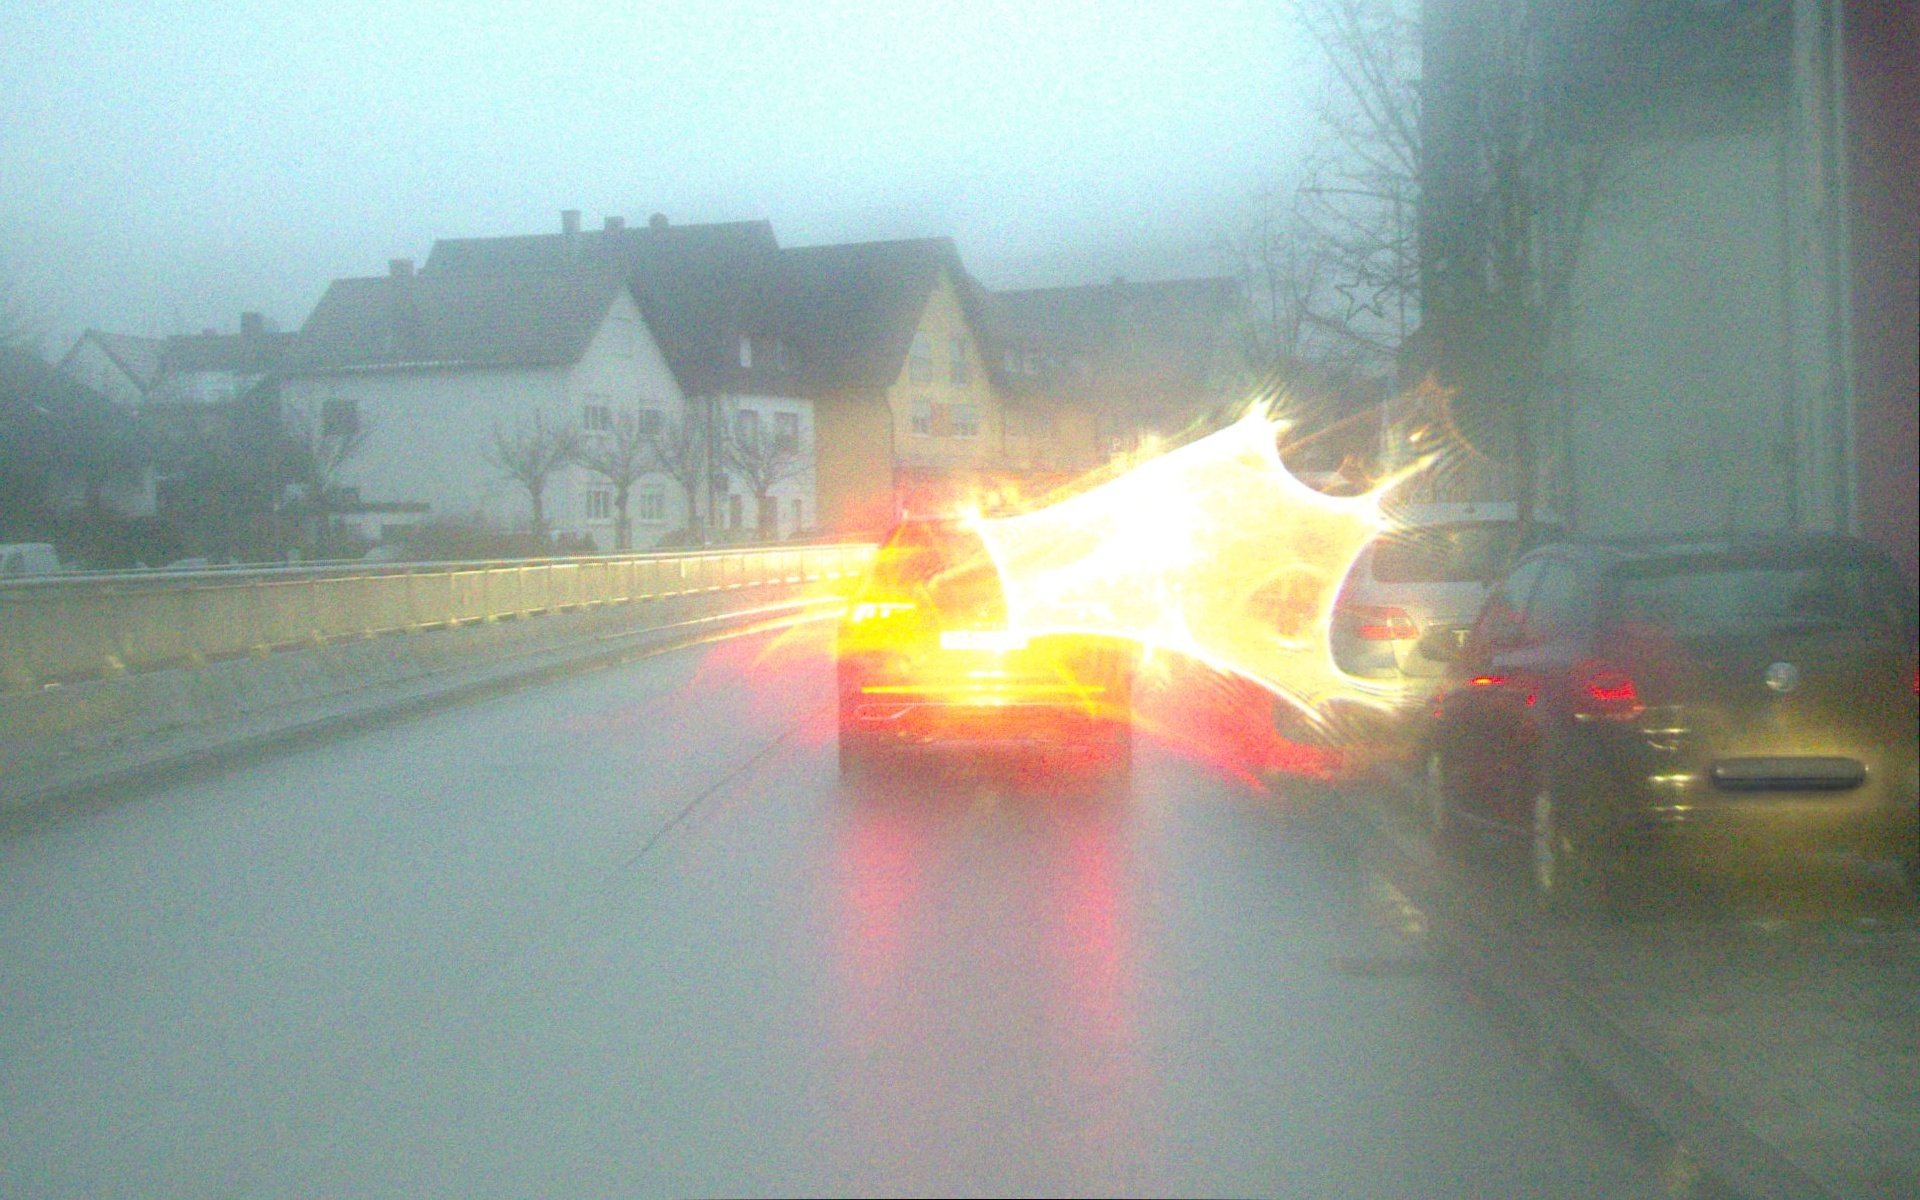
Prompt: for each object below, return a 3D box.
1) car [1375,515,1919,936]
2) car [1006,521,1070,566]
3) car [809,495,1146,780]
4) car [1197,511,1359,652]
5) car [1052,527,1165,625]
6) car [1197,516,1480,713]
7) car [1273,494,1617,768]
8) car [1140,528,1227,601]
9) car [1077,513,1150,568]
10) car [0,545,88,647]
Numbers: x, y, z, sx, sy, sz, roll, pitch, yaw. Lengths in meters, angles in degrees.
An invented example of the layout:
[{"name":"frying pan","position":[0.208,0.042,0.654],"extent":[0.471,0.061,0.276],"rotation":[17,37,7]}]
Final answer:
[{"name":"car","position":[2.928,0.407,14.598],"extent":[1.702,1.446,4.192],"rotation":[-3,2,-1]},{"name":"car","position":[2.825,-2.067,125.766],"extent":[1.821,1.607,4.058],"rotation":[0,1,-6]},{"name":"car","position":[0.034,0.155,22.431],"extent":[1.964,1.589,4.314],"rotation":[-1,2,-2]},{"name":"car","position":[3.679,-0.258,40.324],"extent":[1.652,1.450,4.238],"rotation":[-4,1,3]},{"name":"car","position":[2.351,-0.404,53.770],"extent":[1.682,1.448,4.000],"rotation":[1,1,3]},{"name":"car","position":[3.158,0.054,29.652],"extent":[1.956,1.527,5.009],"rotation":[0,1,1]},{"name":"car","position":[3.104,0.137,22.785],"extent":[1.664,1.570,4.497],"rotation":[-2,1,1]},{"name":"car","position":[4.877,-0.793,74.932],"extent":[1.814,1.407,4.000],"rotation":[-1,3,4]},{"name":"car","position":[5.570,-2.175,124.884],"extent":[2.037,1.919,4.058],"rotation":[0,1,-6]},{"name":"car","position":[-18.352,-0.041,65.109],"extent":[1.874,1.772,4.500],"rotation":[-3,2,8]}]
